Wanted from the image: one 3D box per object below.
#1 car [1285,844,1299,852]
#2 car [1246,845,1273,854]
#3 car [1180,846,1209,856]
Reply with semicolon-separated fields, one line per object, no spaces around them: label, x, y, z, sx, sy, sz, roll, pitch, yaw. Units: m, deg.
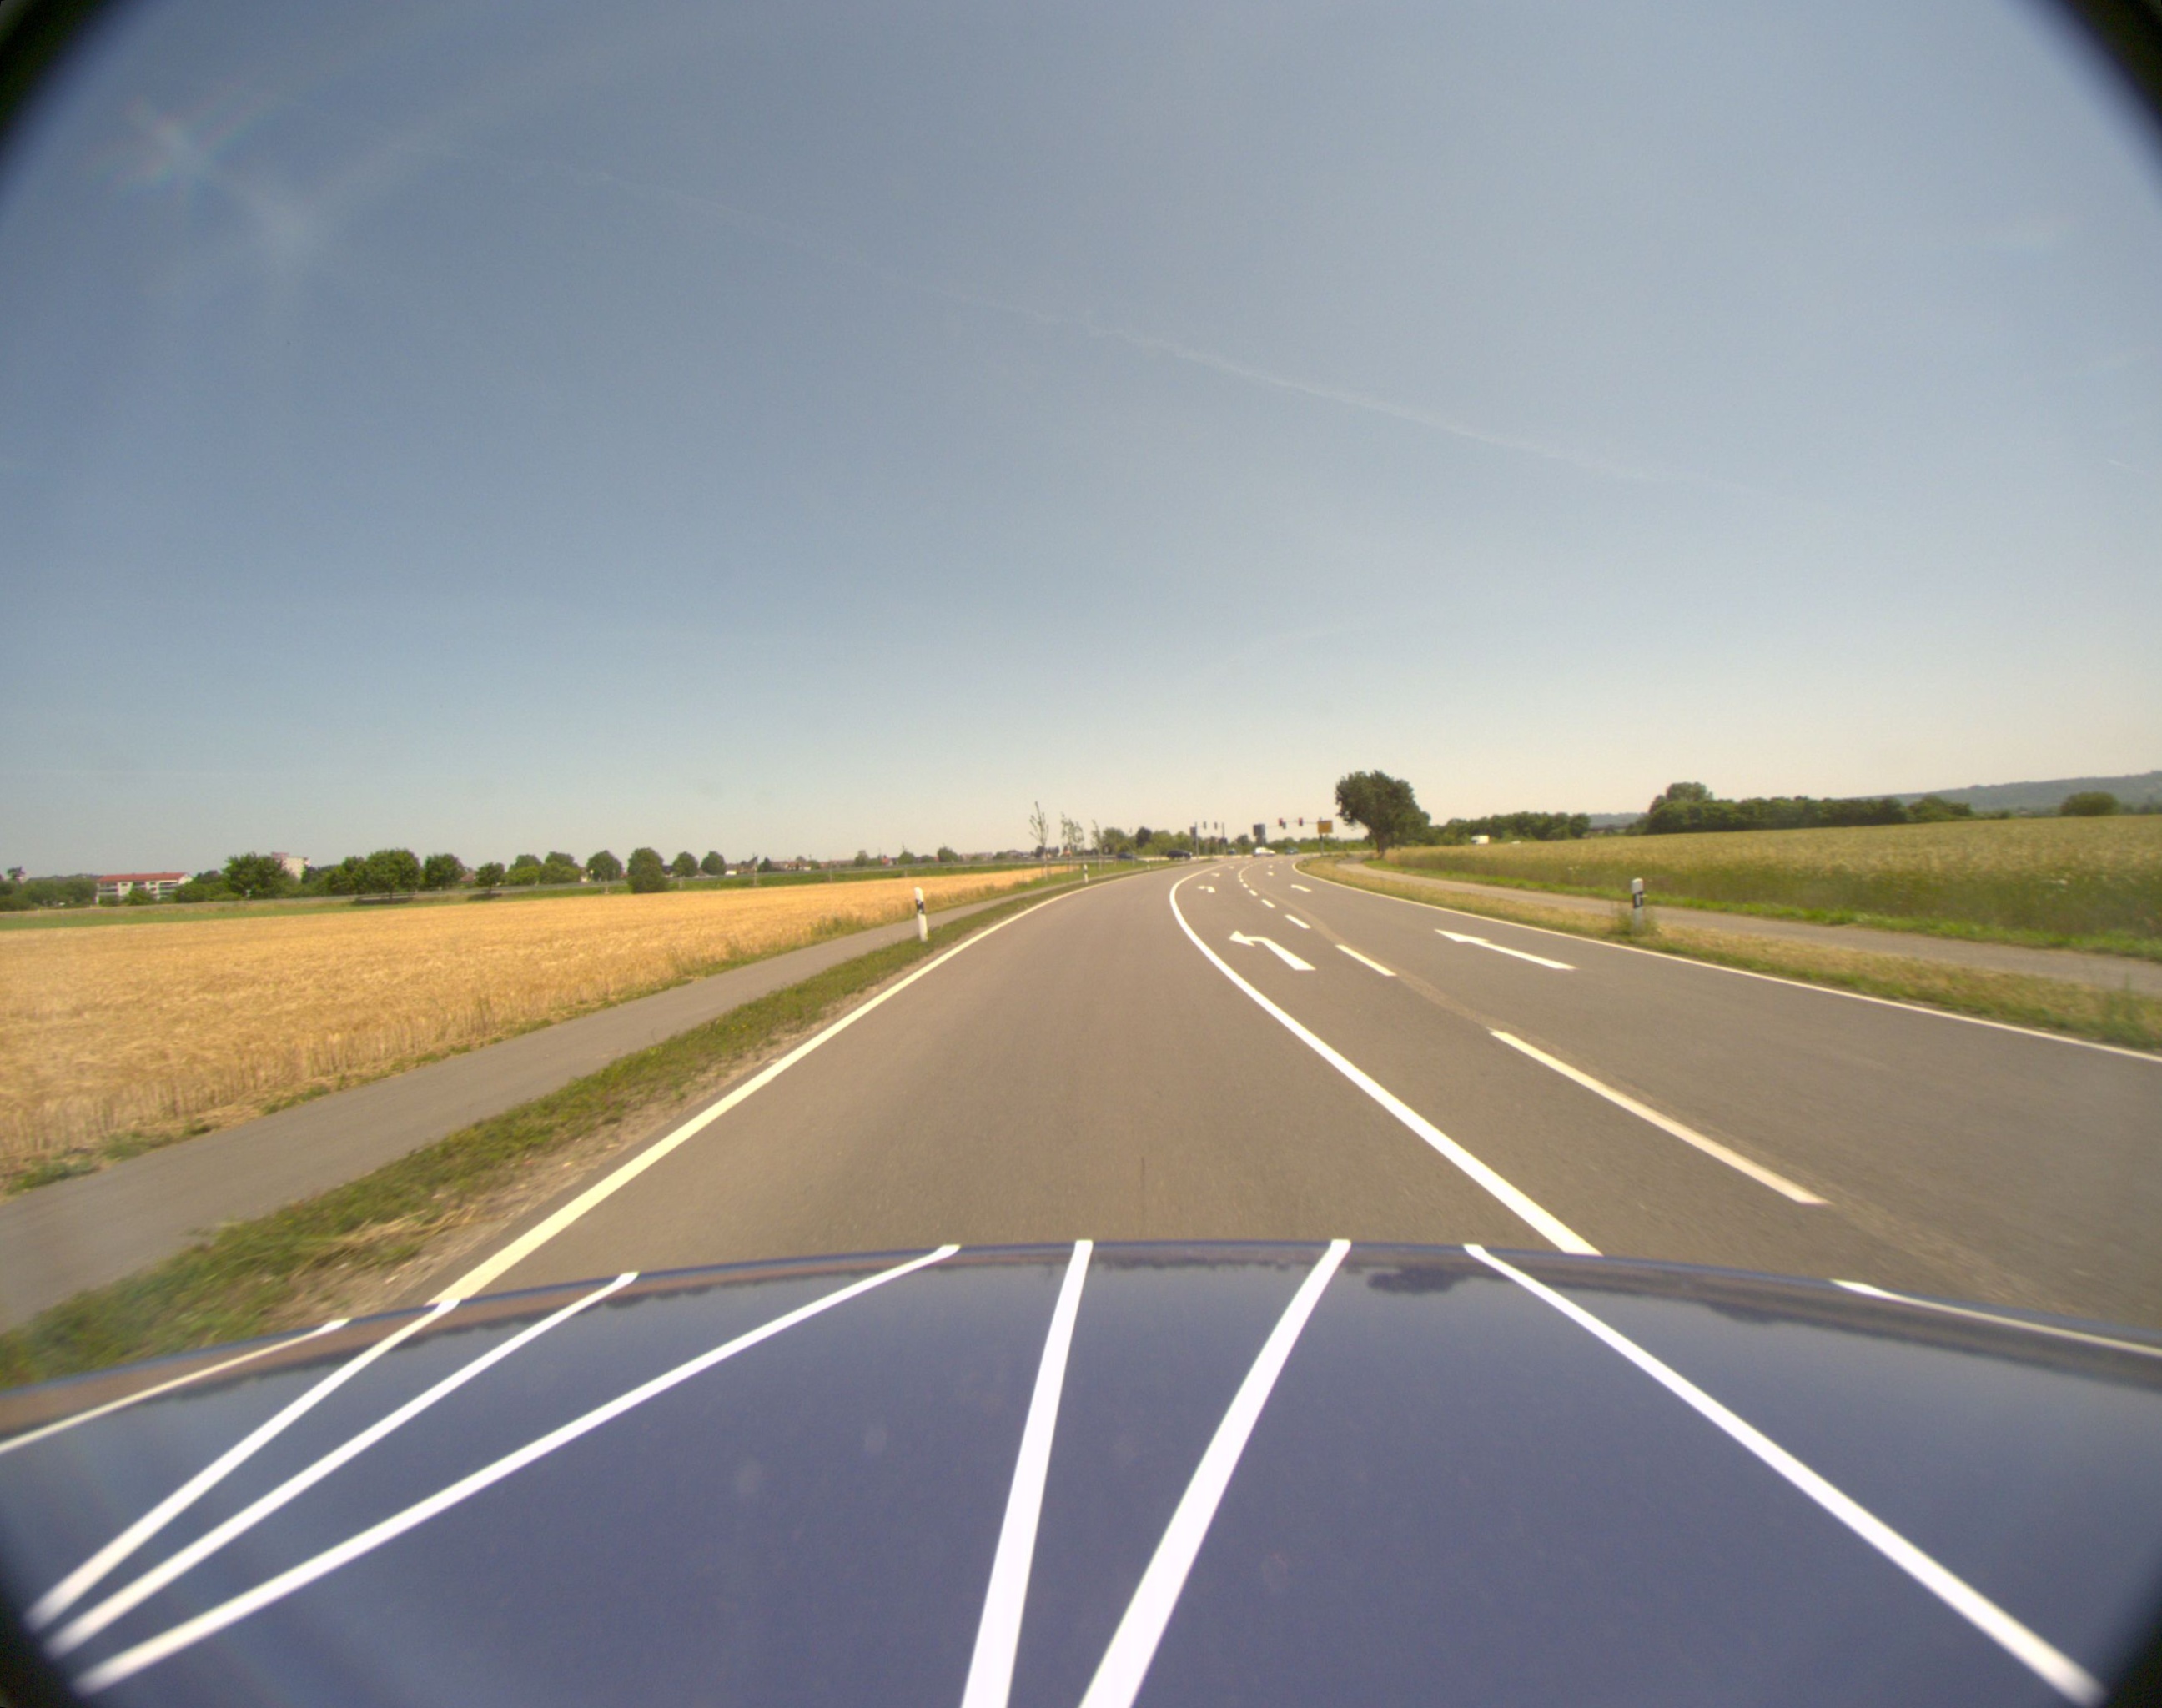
car;41.885;-1.185;150.863;1.654;1.557;4.007;-1;0;31
car;30.464;-0.789;129.982;4.152;1.451;1.659;-3;1;-8
car;19.679;-0.568;131.599;4.516;1.631;1.816;-1;2;23
